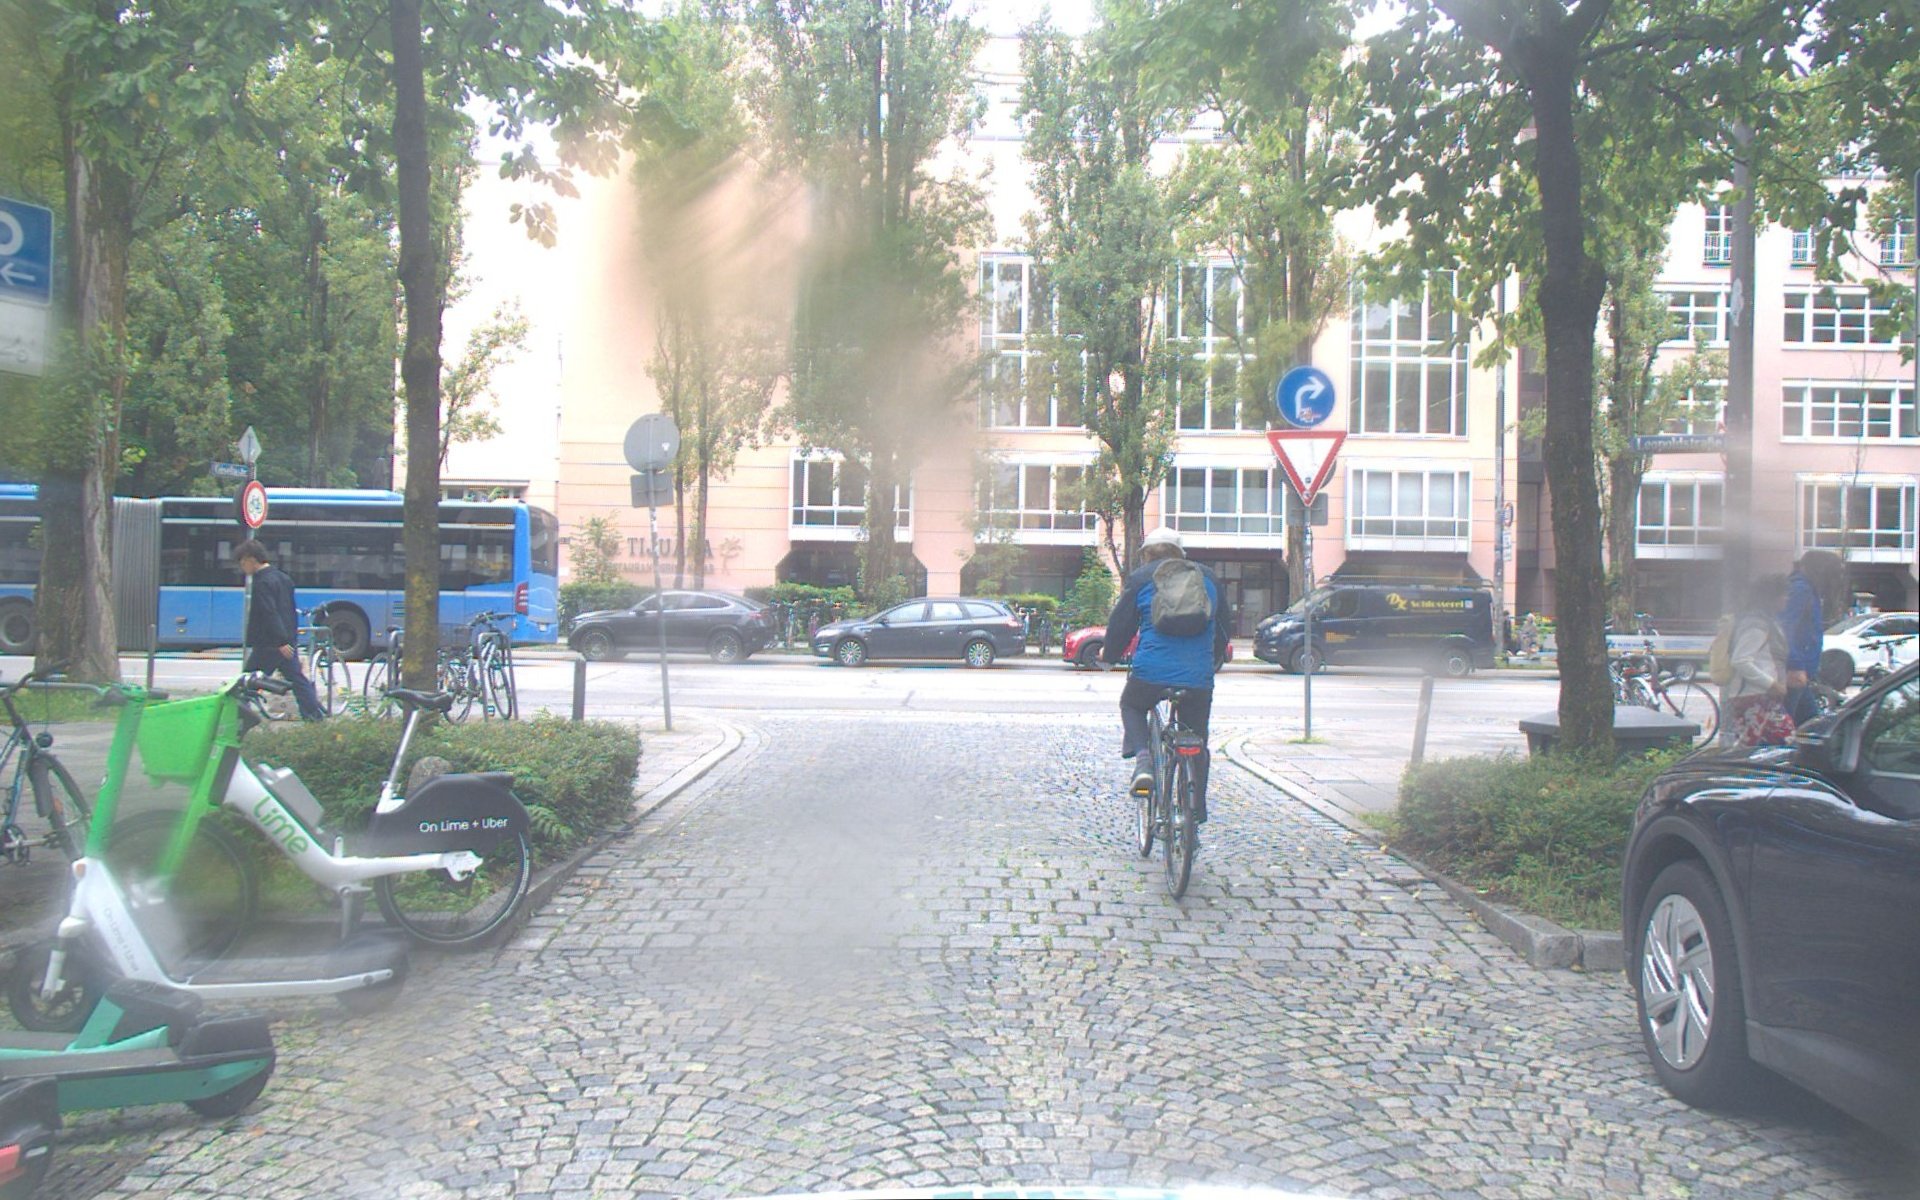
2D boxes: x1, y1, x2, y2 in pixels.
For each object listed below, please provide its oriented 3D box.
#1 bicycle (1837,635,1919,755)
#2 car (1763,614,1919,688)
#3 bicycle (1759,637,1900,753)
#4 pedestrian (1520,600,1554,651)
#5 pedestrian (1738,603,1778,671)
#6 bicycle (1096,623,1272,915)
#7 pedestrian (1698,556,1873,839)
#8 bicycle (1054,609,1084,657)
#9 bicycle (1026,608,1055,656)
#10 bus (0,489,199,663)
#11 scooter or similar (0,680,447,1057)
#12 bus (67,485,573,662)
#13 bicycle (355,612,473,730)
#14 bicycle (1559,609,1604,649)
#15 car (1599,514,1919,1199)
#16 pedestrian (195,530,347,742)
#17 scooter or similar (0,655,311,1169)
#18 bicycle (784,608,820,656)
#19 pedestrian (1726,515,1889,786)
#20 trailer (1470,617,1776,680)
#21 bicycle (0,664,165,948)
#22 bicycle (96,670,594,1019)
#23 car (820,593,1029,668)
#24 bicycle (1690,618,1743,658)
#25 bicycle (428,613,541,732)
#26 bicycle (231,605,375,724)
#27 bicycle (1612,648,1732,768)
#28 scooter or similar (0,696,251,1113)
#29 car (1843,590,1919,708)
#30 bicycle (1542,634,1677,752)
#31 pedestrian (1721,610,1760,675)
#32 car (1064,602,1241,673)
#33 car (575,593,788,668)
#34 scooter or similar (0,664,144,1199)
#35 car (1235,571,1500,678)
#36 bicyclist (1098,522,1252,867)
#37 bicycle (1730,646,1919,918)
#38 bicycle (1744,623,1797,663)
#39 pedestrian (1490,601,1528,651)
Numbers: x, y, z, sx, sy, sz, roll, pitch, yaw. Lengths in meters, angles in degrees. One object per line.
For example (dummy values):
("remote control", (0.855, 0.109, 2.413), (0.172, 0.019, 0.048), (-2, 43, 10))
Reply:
("bicycle", (9.405, 0.921, 16.305), (0.501, 1.124, 1.931), (1, -1, 0))
("car", (20.060, 1.116, 36.182), (4.132, 1.569, 1.807), (0, -1, 2))
("bicycle", (8.571, 0.907, 16.378), (0.464, 1.069, 1.877), (1, -1, 2))
("pedestrian", (16.214, 0.713, 46.480), (0.714, 1.393, 0.709), (1, 0, 1))
("pedestrian", (20.920, 0.956, 43.377), (0.714, 1.743, 0.709), (1, 0, 1))
("bicycle", (1.089, 0.779, 8.425), (0.702, 1.167, 1.902), (1, 3, 2))
("pedestrian", (5.175, 0.590, 10.408), (0.825, 1.709, 0.611), (1, 0, 10))
("bicycle", (2.665, 0.799, 40.696), (0.660, 1.144, 1.742), (1, 0, 1))
("bicycle", (1.966, 0.774, 40.711), (0.660, 1.144, 1.742), (1, 0, 1))
("bus", (-19.744, -0.462, 30.964), (9.564, 3.105, 2.927), (0, 0, -1))
("scooter or similar", (-2.517, 0.871, 5.667), (1.407, 1.164, 0.367), (1, 0, -24))
("bus", (-11.776, -0.485, 30.999), (8.315, 3.105, 2.927), (0, 0, 0))
("bicycle", (-5.508, 0.685, 16.777), (0.479, 1.112, 1.704), (1, 0, 6))
("bicycle", (18.828, 0.871, 50.166), (0.660, 1.144, 1.989), (1, 0, 1))
("car", (3.177, 0.691, 3.544), (1.881, 1.730, 4.200), (1, 0, -1))
("pedestrian", (-5.821, 0.294, 14.028), (0.936, 1.741, 0.858), (0, 0, -1))
("scooter or similar", (-2.424, 0.804, 4.425), (1.234, 1.295, 0.324), (1, 0, -31))
("bicycle", (-3.926, 0.792, 41.189), (0.660, 1.144, 1.989), (1, 0, 1))
("pedestrian", (5.608, 0.318, 10.978), (0.786, 1.726, 0.664), (1, 0, 10))
("trailer", (14.533, 1.044, 36.548), (5.787, 1.220, 2.405), (1, 0, 1))
("bicycle", (-4.016, 0.829, 6.922), (0.541, 1.040, 1.762), (1, 0, -1))
("bicycle", (-2.358, 0.878, 6.430), (1.739, 1.163, 0.548), (1, 0, -31))
("car", (-0.761, 0.660, 36.712), (4.513, 1.555, 1.794), (1, 0, 1))
("bicycle", (22.907, 1.134, 50.111), (0.660, 1.144, 2.107), (1, 0, 1))
("bicycle", (-4.745, 0.695, 16.609), (0.479, 1.112, 1.704), (1, 0, 6))
("bicycle", (-6.582, 0.617, 16.682), (0.479, 1.112, 1.985), (1, 0, 6))
("bicycle", (7.245, 1.070, 16.913), (0.464, 1.069, 1.877), (1, 1, 2))
("scooter or similar", (-2.801, 0.882, 4.927), (1.221, 1.164, 0.327), (1, 0, 0))
("car", (14.105, 0.650, 21.435), (4.340, 1.452, 1.757), (1, 1, 4))
("bicycle", (6.390, 0.887, 16.366), (0.465, 1.069, 1.874), (1, 0, -5))
("pedestrian", (21.141, 1.142, 44.792), (0.714, 1.743, 0.709), (1, 0, 1))
("car", (4.194, 0.811, 36.455), (3.780, 1.474, 1.679), (1, 0, 3))
("car", (-6.147, 0.654, 36.828), (4.407, 1.555, 1.794), (1, 0, 1))
("scooter or similar", (-2.398, 0.820, 3.636), (0.319, 1.295, 1.359), (1, 0, 10))
("car", (8.953, 0.525, 36.665), (5.366, 2.235, 2.024), (1, 0, 1))
("bicyclist", (1.065, 0.449, 8.336), (0.707, 1.647, 0.757), (1, 0, 4))
("bicycle", (4.424, 0.845, 8.348), (0.464, 1.156, 1.878), (1, 0, 9))
("bicycle", (24.361, 1.276, 49.724), (0.660, 1.144, 1.989), (1, 0, 1))
("pedestrian", (15.434, 0.731, 46.491), (0.699, 1.393, 0.725), (1, 0, -28))
